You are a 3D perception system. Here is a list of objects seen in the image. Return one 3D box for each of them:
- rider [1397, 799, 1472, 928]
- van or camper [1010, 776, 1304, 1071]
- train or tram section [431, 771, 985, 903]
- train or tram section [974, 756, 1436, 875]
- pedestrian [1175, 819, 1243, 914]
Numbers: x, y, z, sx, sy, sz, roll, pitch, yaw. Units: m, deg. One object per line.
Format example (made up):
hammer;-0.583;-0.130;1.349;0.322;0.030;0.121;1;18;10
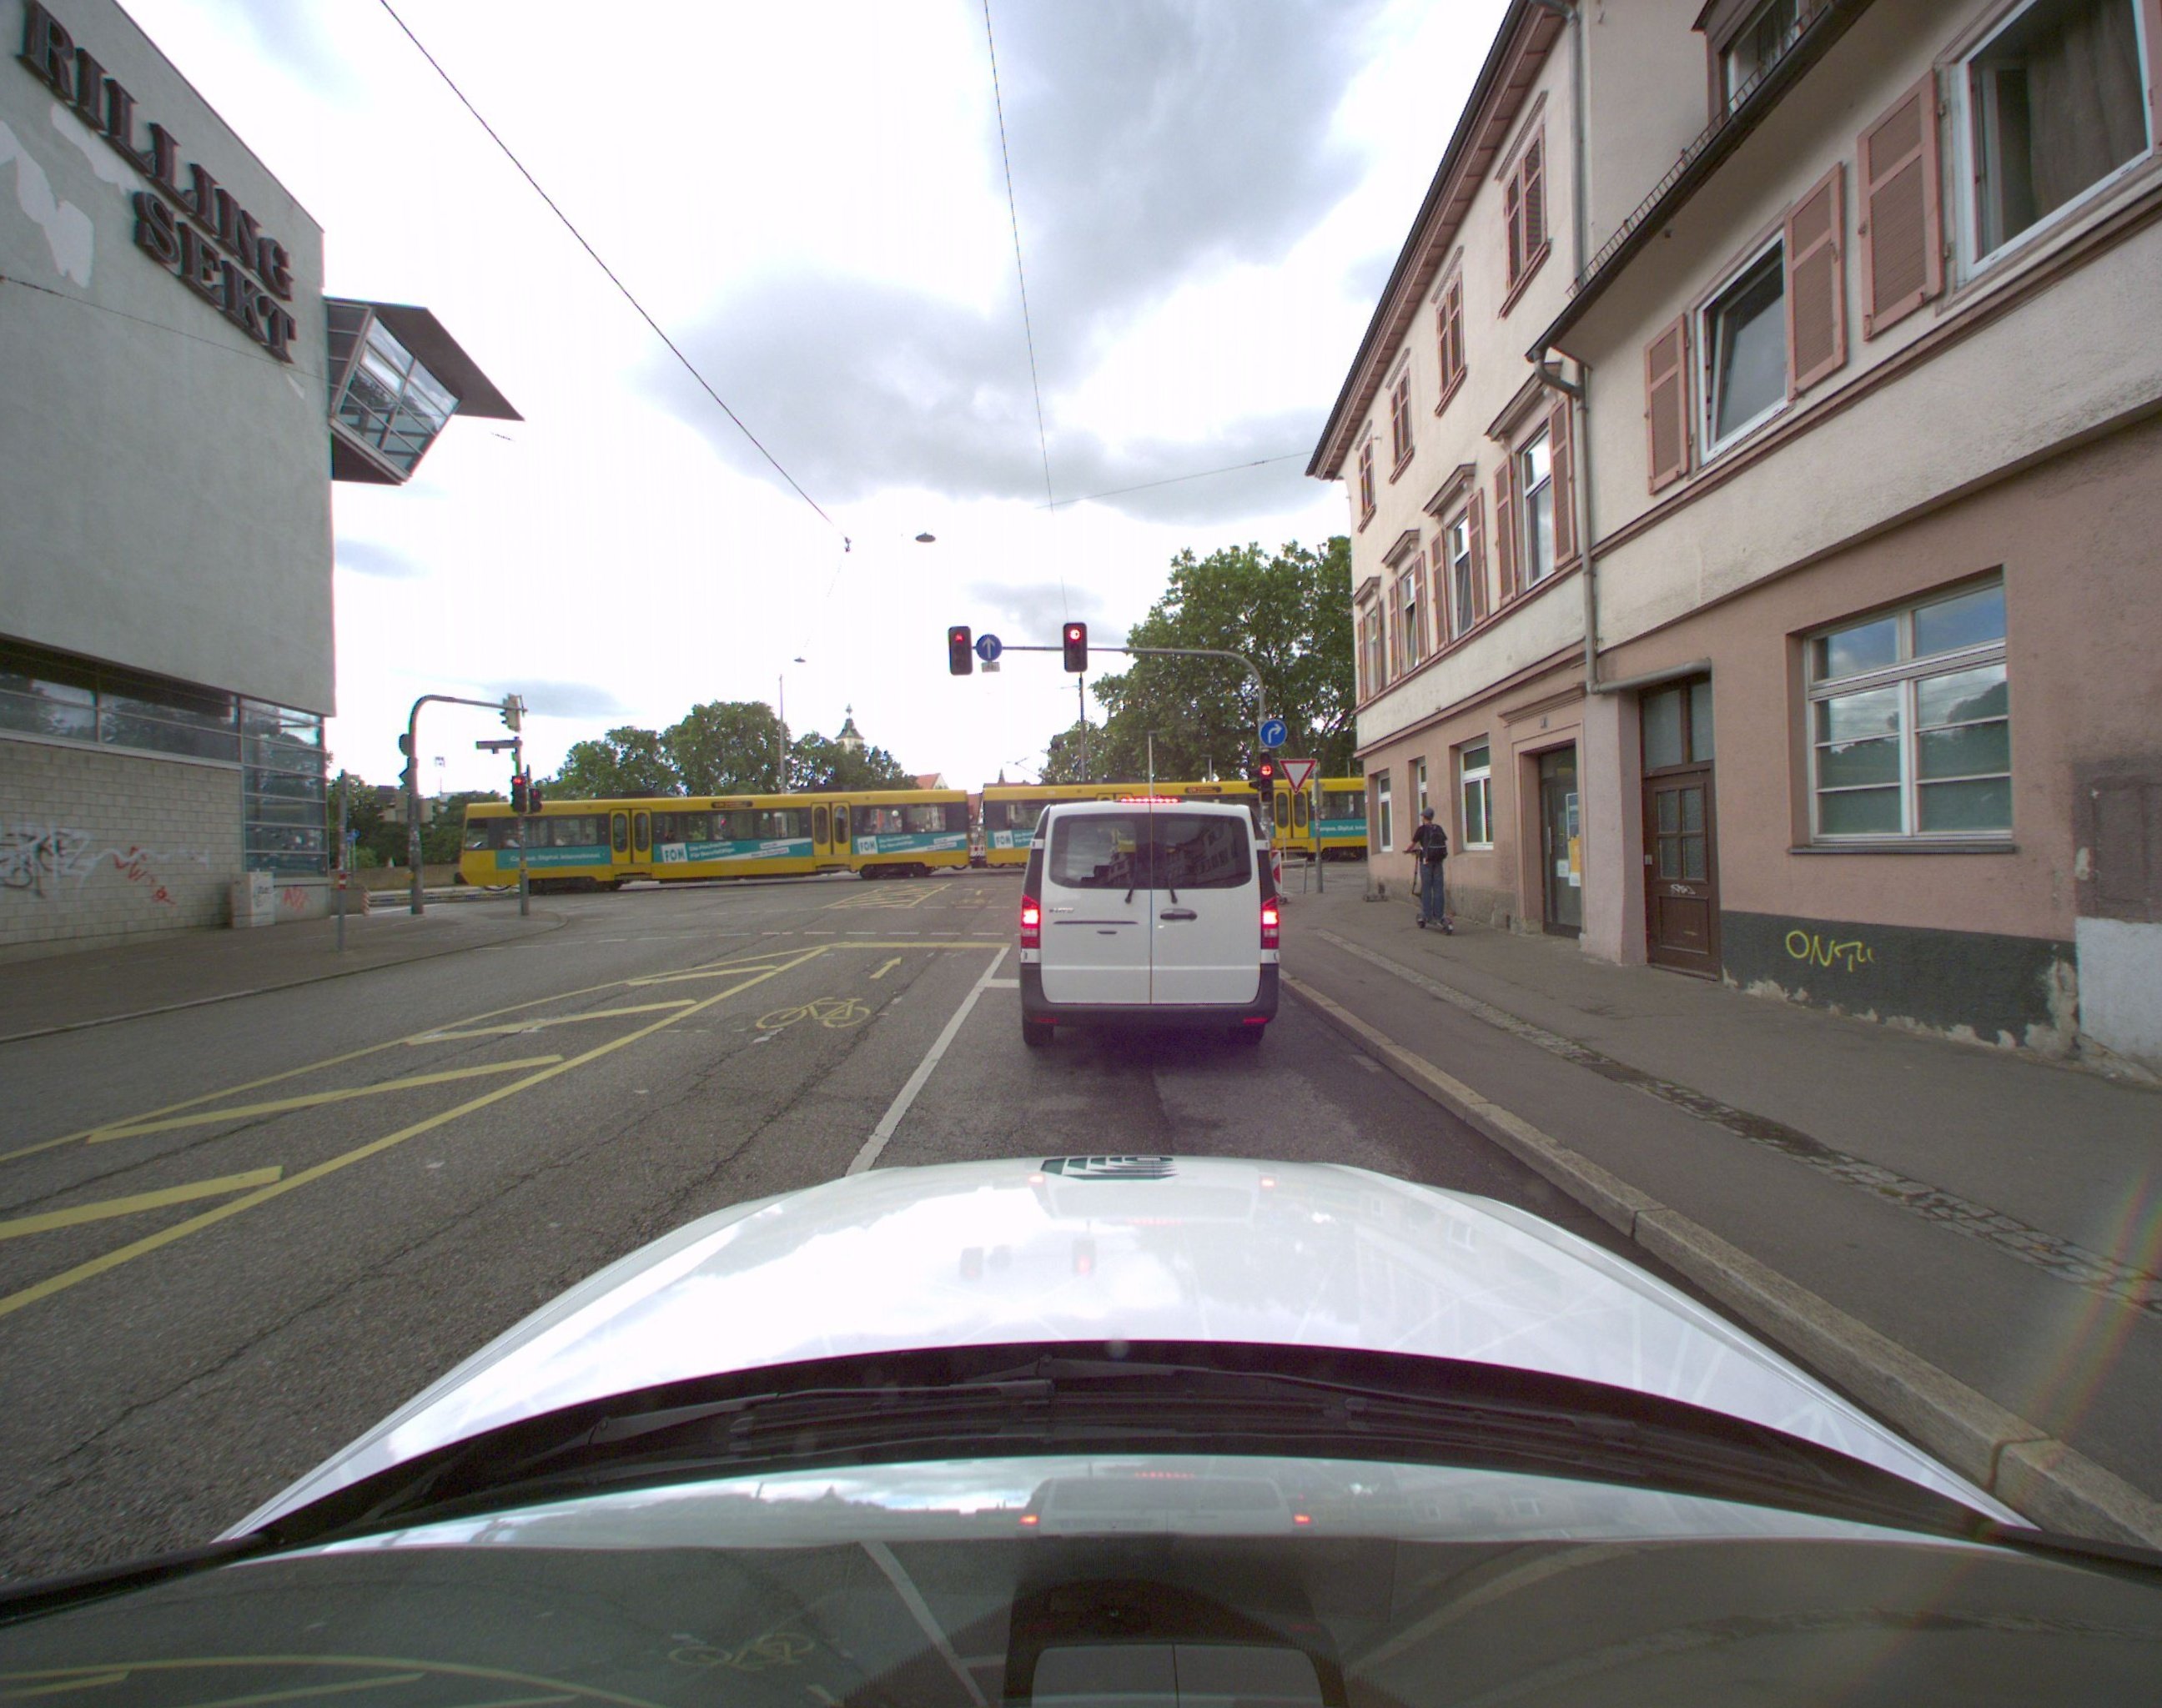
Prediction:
rider;5.281;0.137;12.225;0.715;1.847;0.798;-3;0;1
van or camper;0.492;0.431;7.583;1.932;1.924;4.440;0;1;-1
train or tram section;-13.563;-0.825;31.962;19.222;4.002;3.299;-3;2;-10
train or tram section;5.112;-1.663;34.280;18.737;4.002;3.261;-3;2;-5
pedestrian;2.609;0.237;16.591;1.159;1.856;0.671;-3;1;-37
